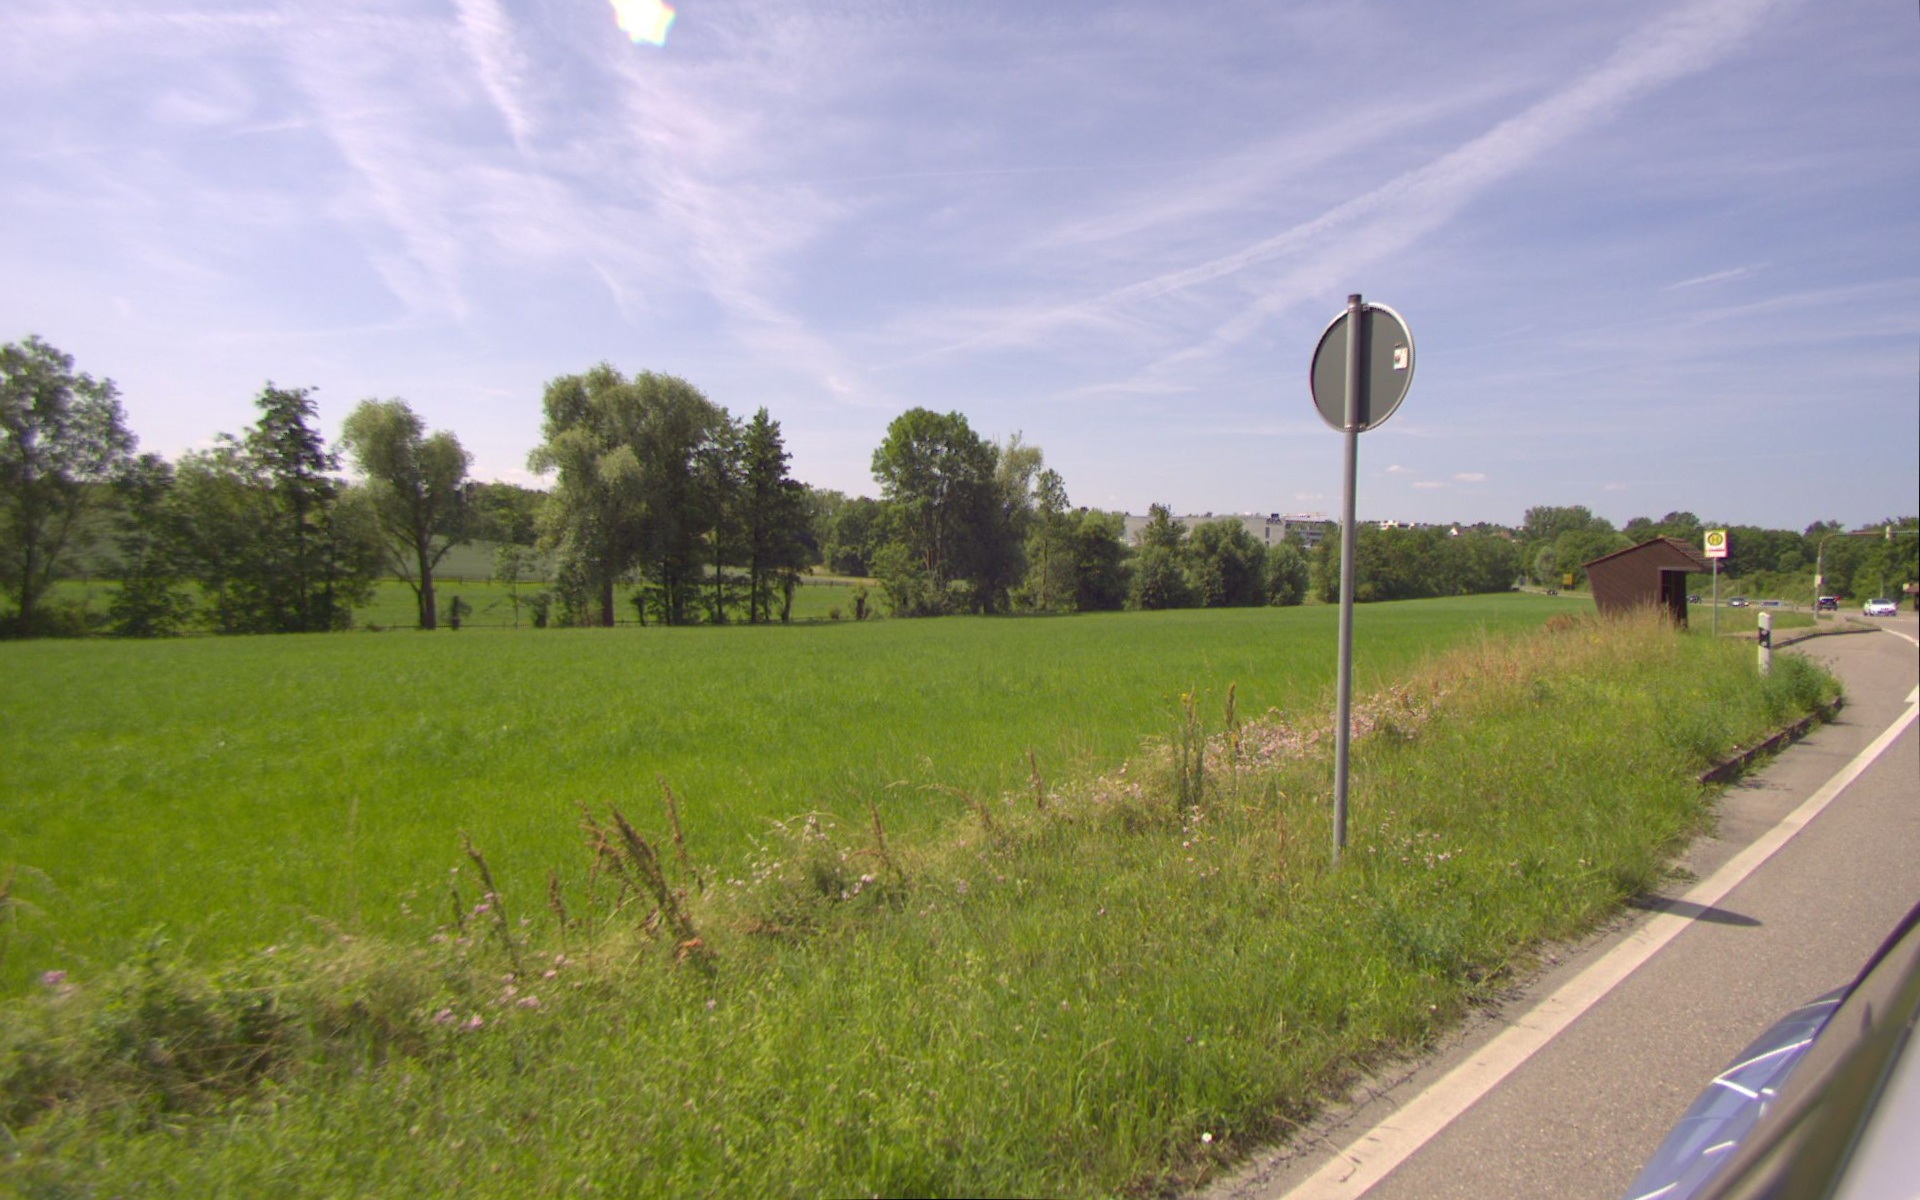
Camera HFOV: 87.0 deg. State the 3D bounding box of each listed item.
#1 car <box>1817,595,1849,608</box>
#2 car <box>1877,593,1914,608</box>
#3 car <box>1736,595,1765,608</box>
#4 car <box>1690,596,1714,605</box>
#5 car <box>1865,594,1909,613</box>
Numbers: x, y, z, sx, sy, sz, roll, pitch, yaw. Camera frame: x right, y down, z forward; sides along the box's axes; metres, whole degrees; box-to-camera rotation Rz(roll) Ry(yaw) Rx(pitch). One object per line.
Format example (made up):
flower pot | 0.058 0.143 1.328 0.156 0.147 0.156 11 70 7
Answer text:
car | 103.556 0.169 120.072 1.962 1.582 4.149 -1 0 27
car | 93.530 0.031 101.256 1.696 1.502 3.796 -1 0 27
car | 104.447 0.177 133.780 1.978 1.605 3.968 -1 0 24
car | 125.378 0.037 171.077 1.770 1.493 4.292 -1 -1 13
car | 80.979 0.307 88.444 1.983 1.605 3.957 -1 0 30
